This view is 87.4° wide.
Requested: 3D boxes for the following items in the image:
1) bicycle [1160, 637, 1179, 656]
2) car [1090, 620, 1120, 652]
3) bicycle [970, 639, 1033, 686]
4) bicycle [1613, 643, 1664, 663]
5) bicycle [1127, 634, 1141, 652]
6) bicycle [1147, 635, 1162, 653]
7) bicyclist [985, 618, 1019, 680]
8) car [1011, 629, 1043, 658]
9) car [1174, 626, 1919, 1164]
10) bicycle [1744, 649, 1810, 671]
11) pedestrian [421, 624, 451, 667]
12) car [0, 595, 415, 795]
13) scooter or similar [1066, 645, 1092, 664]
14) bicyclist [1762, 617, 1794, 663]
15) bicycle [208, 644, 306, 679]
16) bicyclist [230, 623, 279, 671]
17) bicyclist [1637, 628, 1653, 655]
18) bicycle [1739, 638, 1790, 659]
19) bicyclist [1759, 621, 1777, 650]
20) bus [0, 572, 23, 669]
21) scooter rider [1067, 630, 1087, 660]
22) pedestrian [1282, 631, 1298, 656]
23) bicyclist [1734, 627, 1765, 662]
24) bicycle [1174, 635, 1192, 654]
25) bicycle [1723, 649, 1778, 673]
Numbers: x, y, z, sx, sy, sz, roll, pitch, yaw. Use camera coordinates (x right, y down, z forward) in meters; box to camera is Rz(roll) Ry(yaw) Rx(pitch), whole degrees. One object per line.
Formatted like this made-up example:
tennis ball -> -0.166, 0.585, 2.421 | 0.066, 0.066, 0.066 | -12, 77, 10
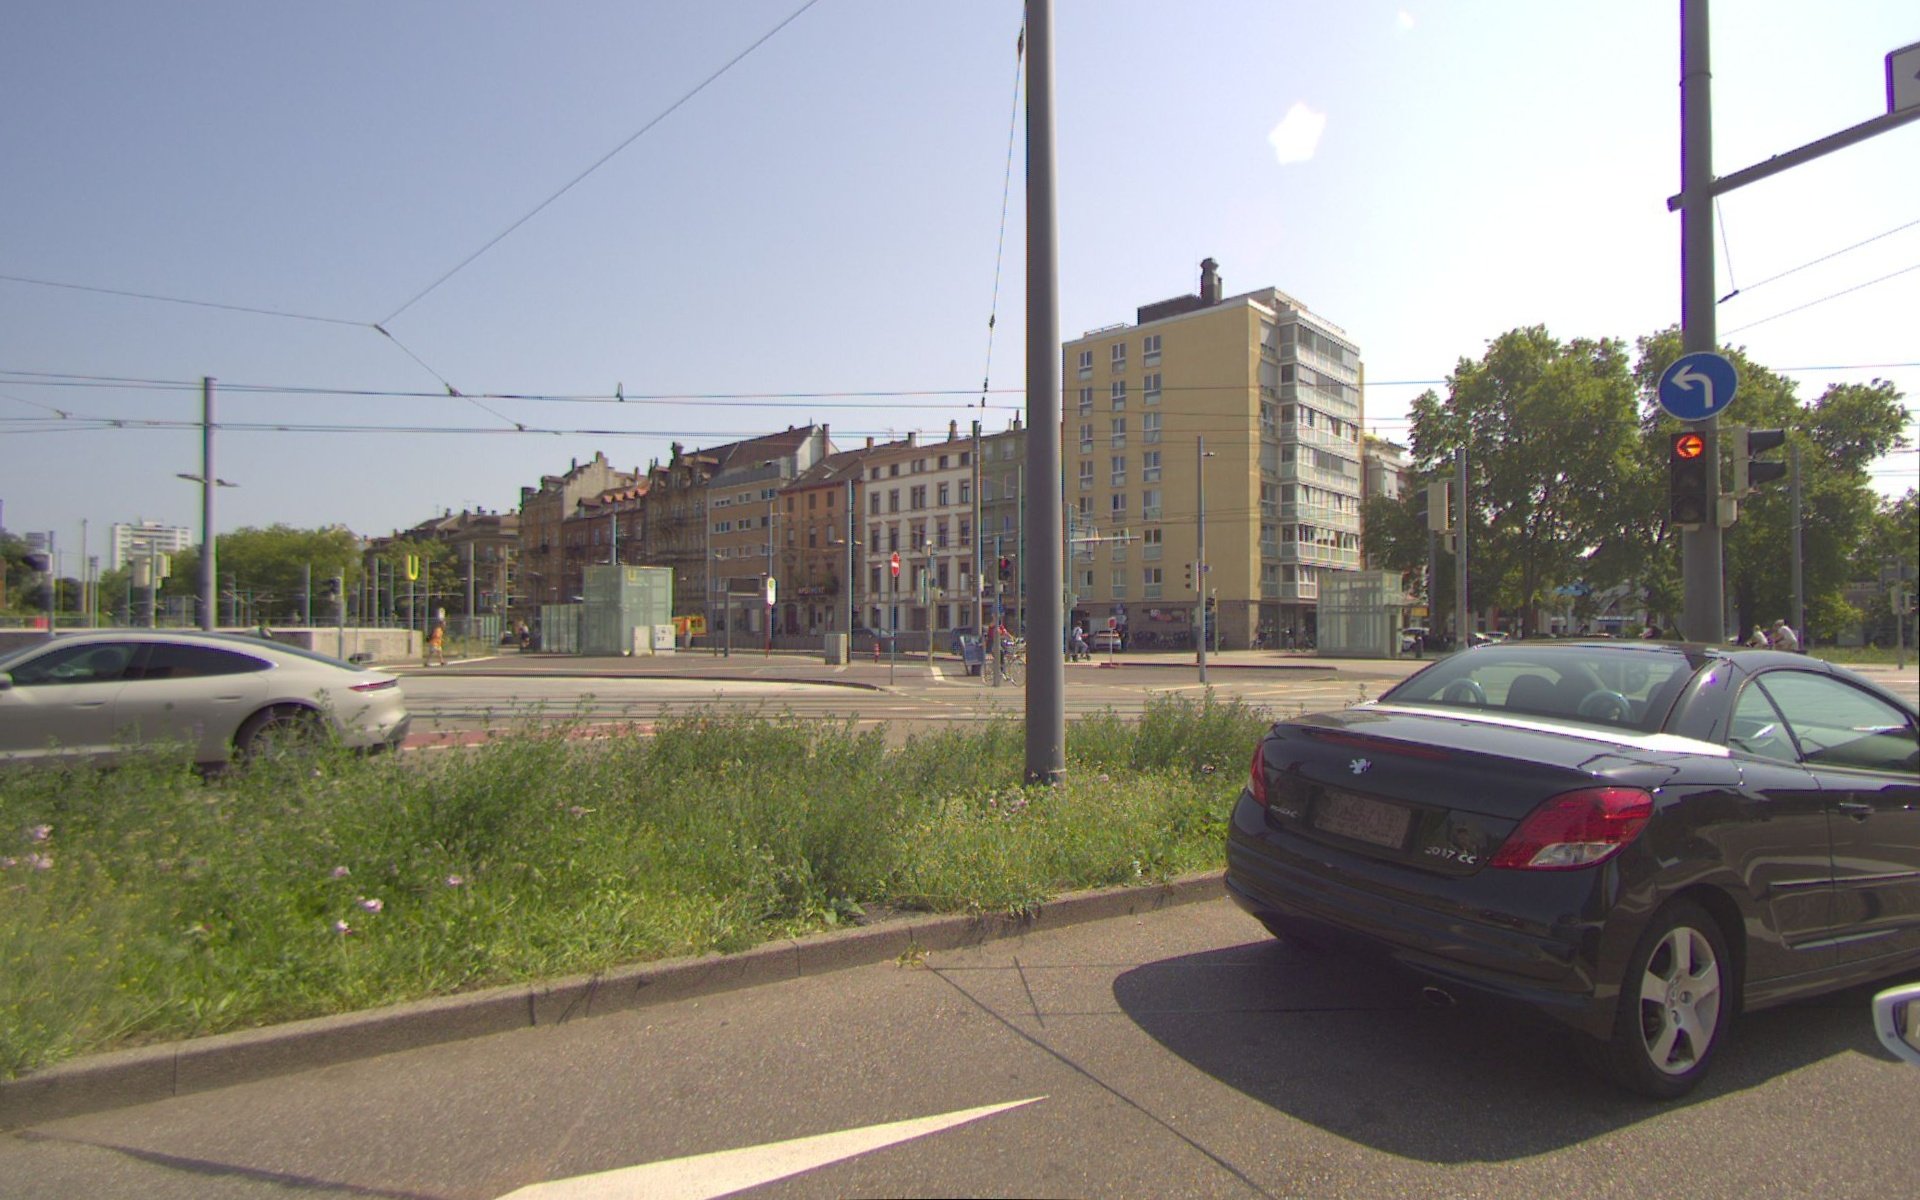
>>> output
bicycle -> 14.221, 3.125, 68.280 | 0.892, 1.220, 3.265 | 0, -2, 4
car -> 9.064, 2.217, 62.590 | 1.767, 1.951, 4.003 | 0, -2, 10
bicycle -> 1.026, 1.551, 25.128 | 0.499, 1.108, 1.918 | 1, -2, -36
bicycle -> 33.502, 2.618, 49.614 | 0.464, 0.954, 2.014 | 2, -2, -42
bicycle -> 12.145, 3.001, 70.323 | 0.680, 1.220, 2.792 | 0, -2, 4
bicycle -> 13.391, 3.005, 69.207 | 0.680, 1.220, 3.265 | 0, -2, 4
bicyclist -> 1.051, 1.225, 25.189 | 0.632, 1.529, 0.553 | 1, -1, -36
car -> 4.534, 2.894, 67.550 | 1.767, 1.843, 4.003 | 0, -2, 10
car -> 2.975, 0.850, 4.351 | 3.732, 1.406, 1.759 | 1, 0, -27
bicycle -> 33.441, 2.445, 41.140 | 0.476, 0.813, 2.030 | 2, -2, -42
pedestrian -> -19.377, 1.683, 37.147 | 0.851, 1.563, 0.735 | 1, -2, -38
car -> -7.721, 0.794, 9.231 | 4.664, 1.606, 1.983 | 1, -2, -32
scooter or similar -> 5.339, 2.444, 45.156 | 1.133, 0.835, 0.517 | 1, -2, -36
bicyclist -> 33.470, 1.636, 41.109 | 0.494, 1.831, 0.915 | 1, -2, -42
bicycle -> -21.631, 1.884, 30.938 | 2.316, 1.056, 0.962 | 0, -2, -2
bicyclist -> -21.685, 1.437, 30.879 | 0.989, 1.446, 0.656 | 2, 0, -3
bicyclist -> 33.664, 2.026, 49.362 | 0.555, 1.310, 0.539 | 1, -2, -41
bicycle -> 37.424, 2.231, 46.732 | 0.413, 0.954, 1.797 | 1, -2, -42
bicyclist -> 37.476, 1.653, 46.590 | 0.555, 1.310, 0.539 | 1, -2, -41
bus -> -33.035, 0.529, 27.017 | 12.103, 2.748, 3.405 | 0, -1, -2
scooter rider -> 5.252, 2.017, 45.220 | 0.602, 1.371, 0.682 | 1, -1, -34
pedestrian -> 20.903, 2.772, 63.580 | 0.843, 1.563, 0.742 | -1, -2, 27
bicyclist -> 34.163, 1.917, 43.486 | 0.552, 1.528, 0.906 | 1, -2, -30
bicycle -> 15.093, 2.993, 68.021 | 0.680, 1.220, 3.265 | 0, -2, 4
bicycle -> 34.180, 2.632, 43.447 | 0.561, 0.954, 1.805 | 1, -2, -31
